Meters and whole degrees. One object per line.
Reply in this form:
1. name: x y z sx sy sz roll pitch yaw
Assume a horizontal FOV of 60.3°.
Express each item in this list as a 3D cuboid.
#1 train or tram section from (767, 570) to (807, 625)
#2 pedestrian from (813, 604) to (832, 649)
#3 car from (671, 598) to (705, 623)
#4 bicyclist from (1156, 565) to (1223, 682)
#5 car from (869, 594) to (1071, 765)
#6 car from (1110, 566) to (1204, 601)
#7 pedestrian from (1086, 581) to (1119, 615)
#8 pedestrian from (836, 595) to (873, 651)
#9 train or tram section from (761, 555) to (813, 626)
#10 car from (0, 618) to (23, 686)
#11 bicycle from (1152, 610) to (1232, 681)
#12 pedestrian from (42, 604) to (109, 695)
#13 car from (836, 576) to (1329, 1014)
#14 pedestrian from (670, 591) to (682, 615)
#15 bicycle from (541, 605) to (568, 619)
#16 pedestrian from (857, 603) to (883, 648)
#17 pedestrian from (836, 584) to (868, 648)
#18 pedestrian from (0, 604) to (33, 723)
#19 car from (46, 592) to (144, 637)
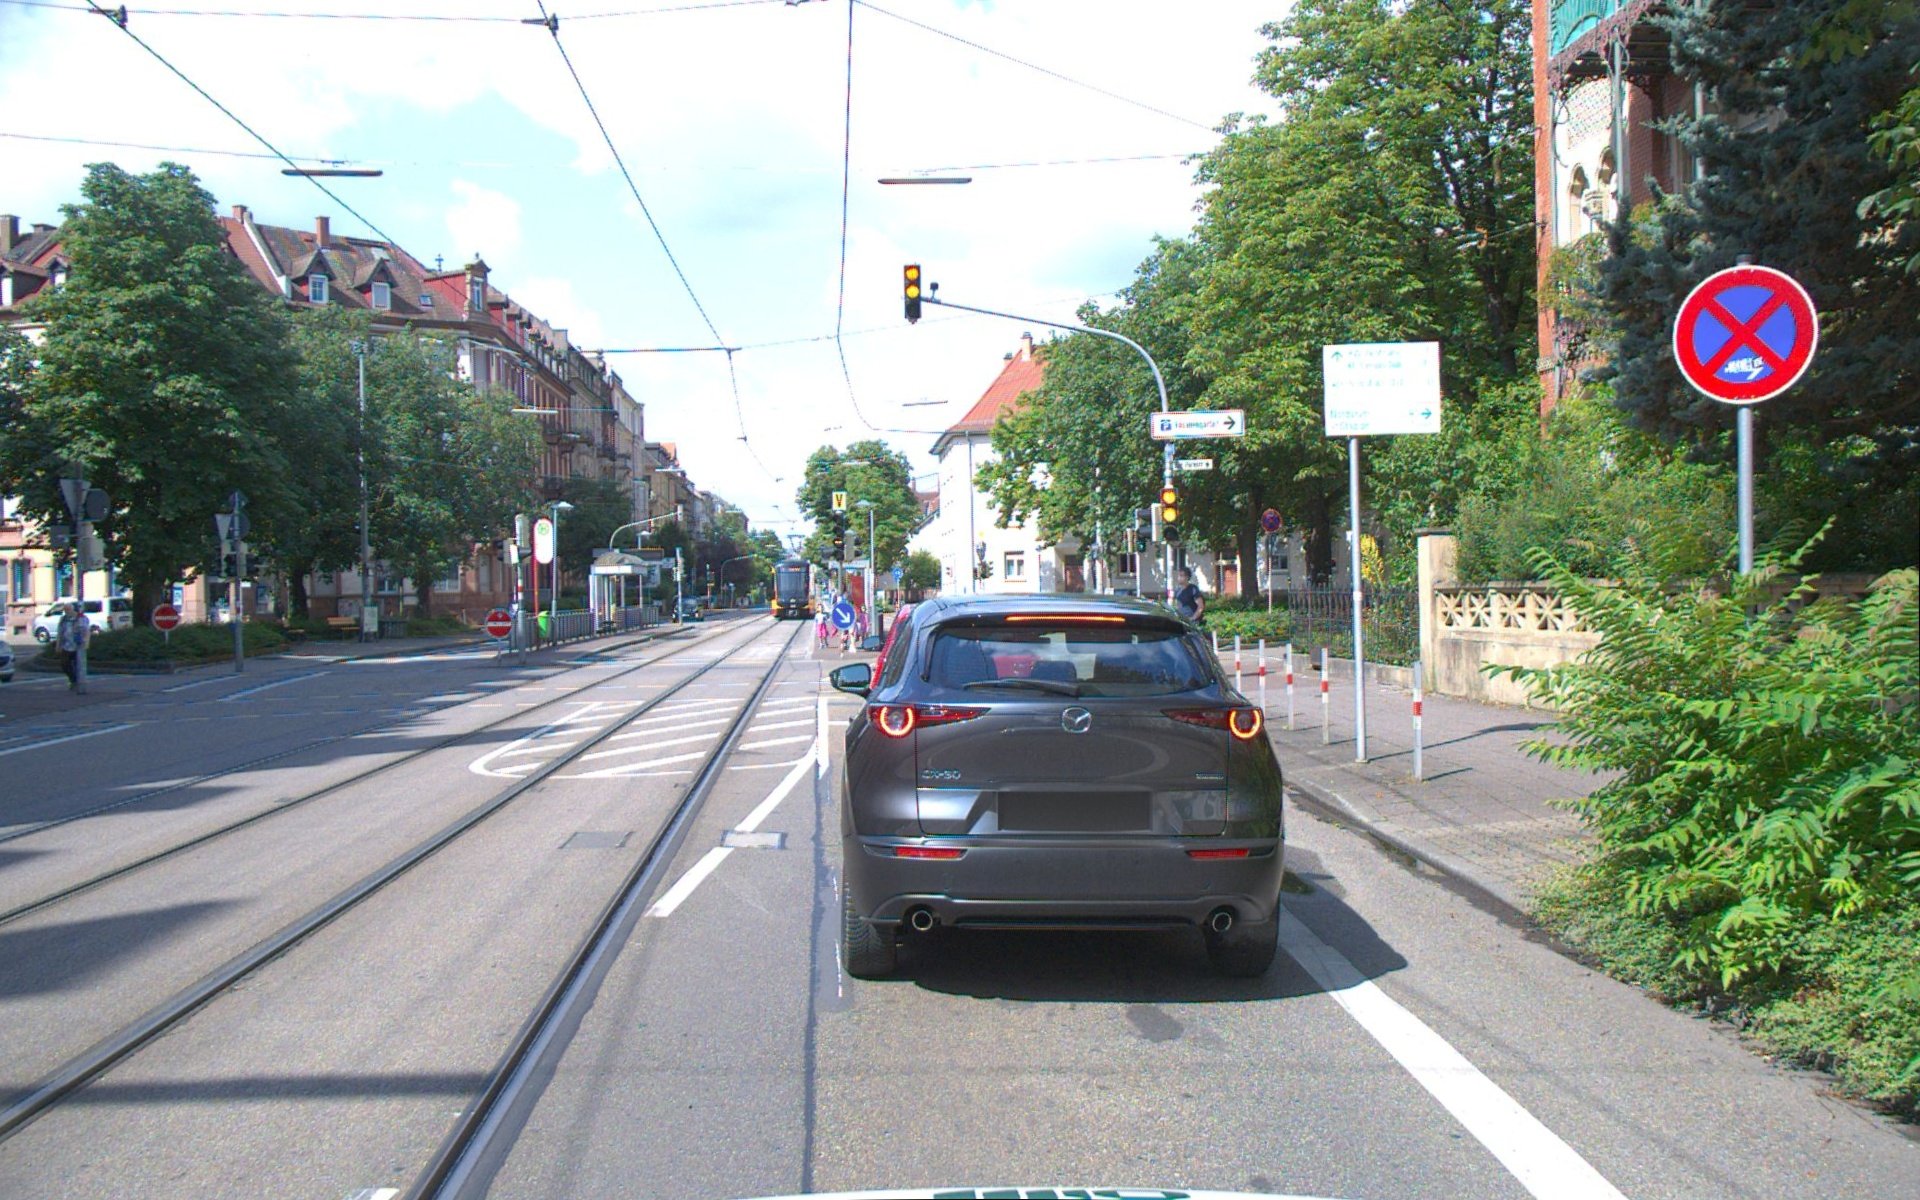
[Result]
1. train or tram section: -13.655 -0.132 130.421 2.940 4.053 13.789 -1 -1 -6
2. pedestrian: -3.536 0.679 42.437 0.414 1.127 0.438 -3 0 -6
3. car: -16.265 0.625 99.066 1.592 1.411 3.434 -3 1 -3
4. bicyclist: 3.724 0.376 26.899 0.724 1.851 0.813 -1 0 -27
5. car: -0.011 0.695 16.402 1.740 1.489 3.839 0 0 -4
6. car: 9.396 -0.800 78.913 4.091 1.536 1.844 -1 2 38
7. pedestrian: 5.676 -0.072 65.879 1.170 1.291 0.556 -3 0 -10
8. pedestrian: -2.648 0.570 41.403 0.809 1.326 0.717 -3 0 -1
9. train or tram section: -10.803 -0.489 103.073 2.940 4.053 13.789 -1 -1 -6
10. car: -22.449 1.168 36.603 3.800 1.445 1.713 -1 0 39
11. bicycle: 3.802 0.729 26.991 0.382 1.053 1.836 -1 1 39
12. pedestrian: -17.044 0.936 31.899 0.837 1.702 0.821 -1 0 -3
13. car: 0.424 0.704 7.910 1.746 1.540 3.999 1 0 -1
14. pedestrian: -21.051 0.213 122.462 0.772 1.718 0.731 -1 0 -3
15. bicycle: -23.002 0.675 93.906 0.378 0.760 1.707 -1 0 31
16. pedestrian: -2.329 0.653 42.836 0.433 1.133 0.643 -1 0 20
17. pedestrian: -2.771 0.411 42.238 0.714 1.593 0.797 -1 0 -9
18. pedestrian: -14.555 0.936 24.838 0.741 1.734 0.873 3 0 -5
19. car: -40.048 0.660 76.617 3.853 2.023 1.857 -1 0 19
